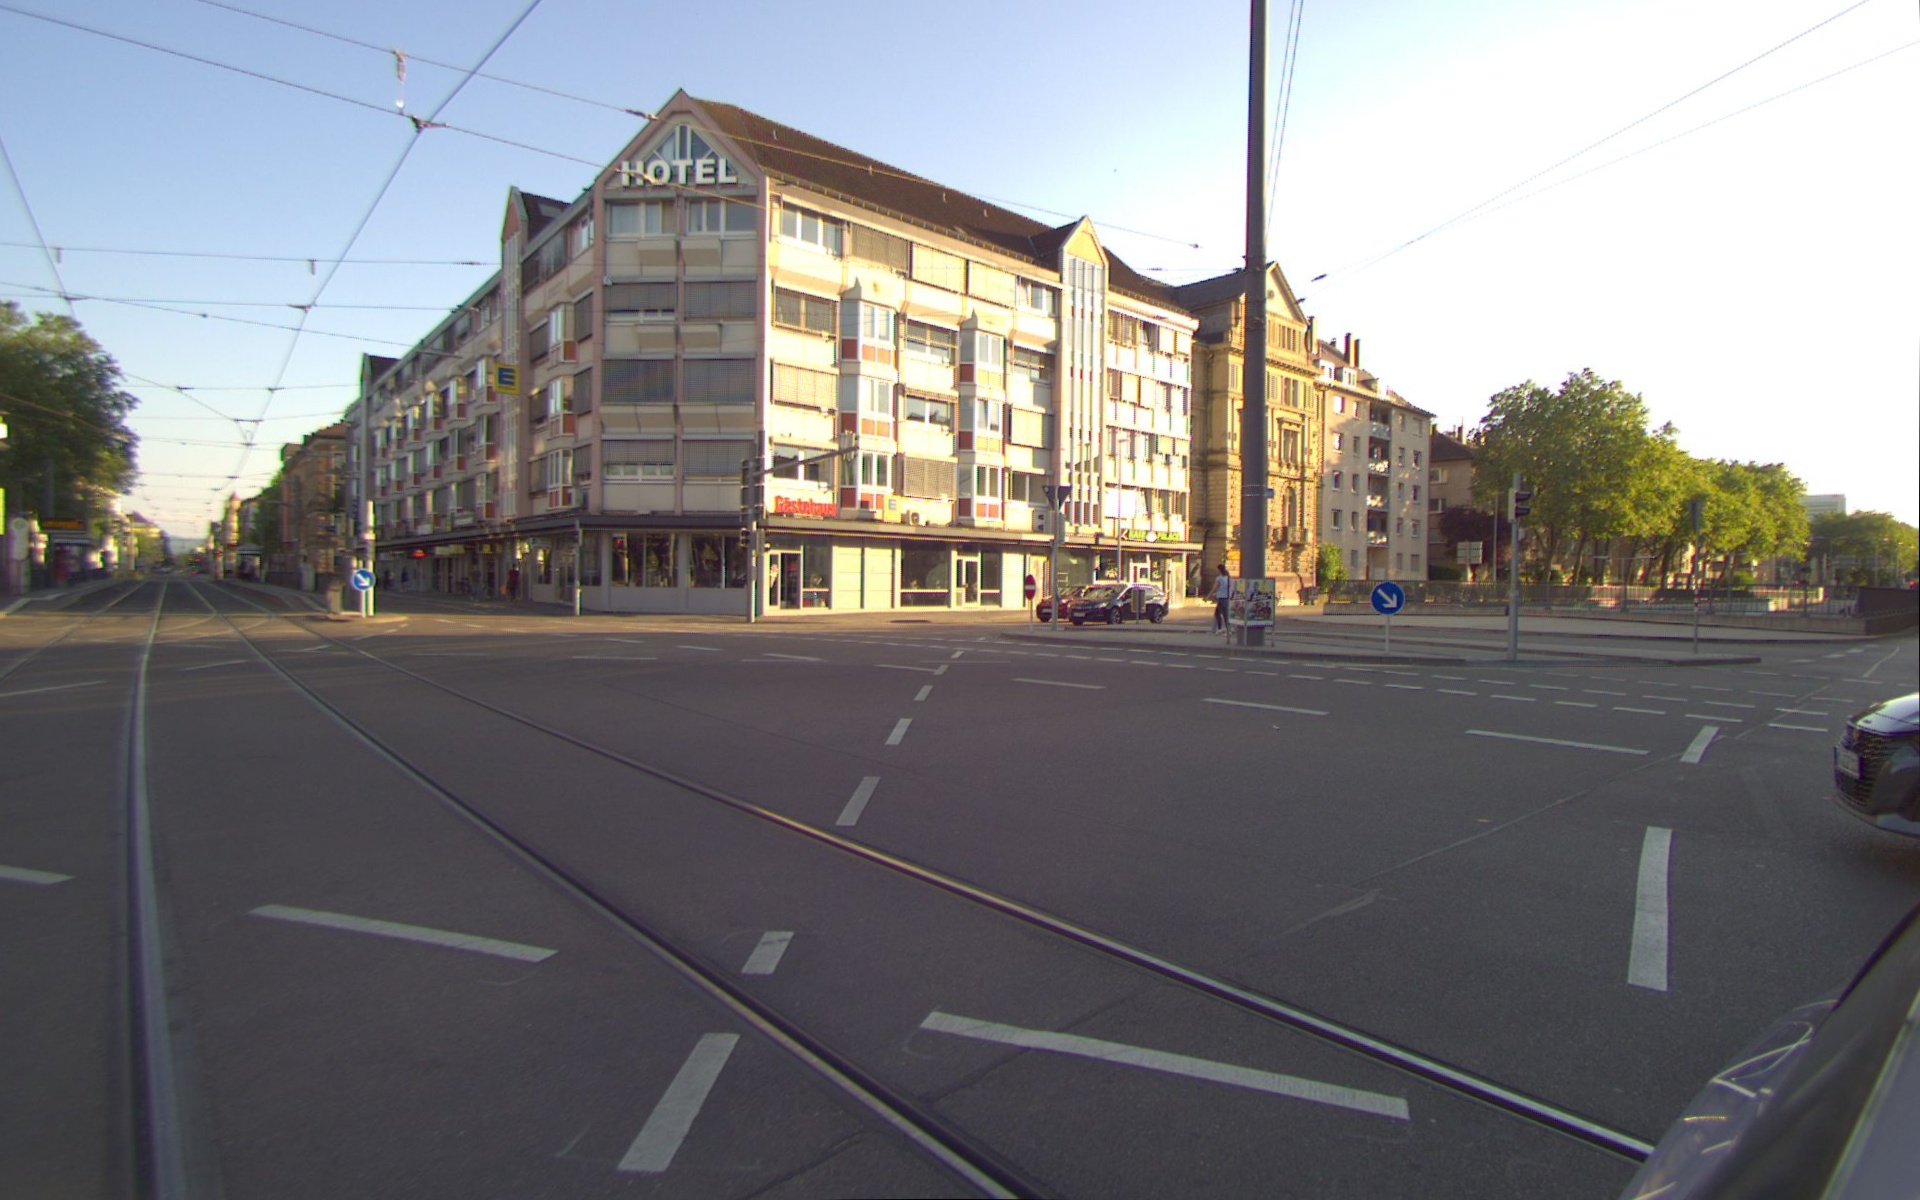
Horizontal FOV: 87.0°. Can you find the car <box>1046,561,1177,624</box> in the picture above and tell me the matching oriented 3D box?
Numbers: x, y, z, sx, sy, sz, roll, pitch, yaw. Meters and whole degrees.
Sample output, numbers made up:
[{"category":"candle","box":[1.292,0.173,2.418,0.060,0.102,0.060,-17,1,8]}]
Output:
[{"category":"car","box":[5.388,-0.337,35.645,4.539,1.572,2.219,-9,10,-42]}]

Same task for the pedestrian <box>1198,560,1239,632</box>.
[{"category":"pedestrian","box":[6.166,-0.101,24.143,0.713,1.669,0.772,1,1,-4]}]

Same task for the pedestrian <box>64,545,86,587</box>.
[{"category":"pedestrian","box":[-43.760,-1.667,50.019,0.797,2.039,0.677,1,1,-43]}]

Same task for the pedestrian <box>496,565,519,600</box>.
[{"category":"pedestrian","box":[-21.004,-0.819,46.969,0.695,1.567,0.906,2,3,-41]}]

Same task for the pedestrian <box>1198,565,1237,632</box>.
[{"category":"pedestrian","box":[6.377,-0.045,25.118,0.692,1.602,0.826,1,1,-2]}]

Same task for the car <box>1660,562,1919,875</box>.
[{"category":"car","box":[6.383,0.597,4.983,4.665,1.522,1.896,2,1,32]}]

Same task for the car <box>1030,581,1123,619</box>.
[{"category":"car","box":[4.653,-0.005,40.218,3.833,1.440,1.645,0,1,-45]}]
